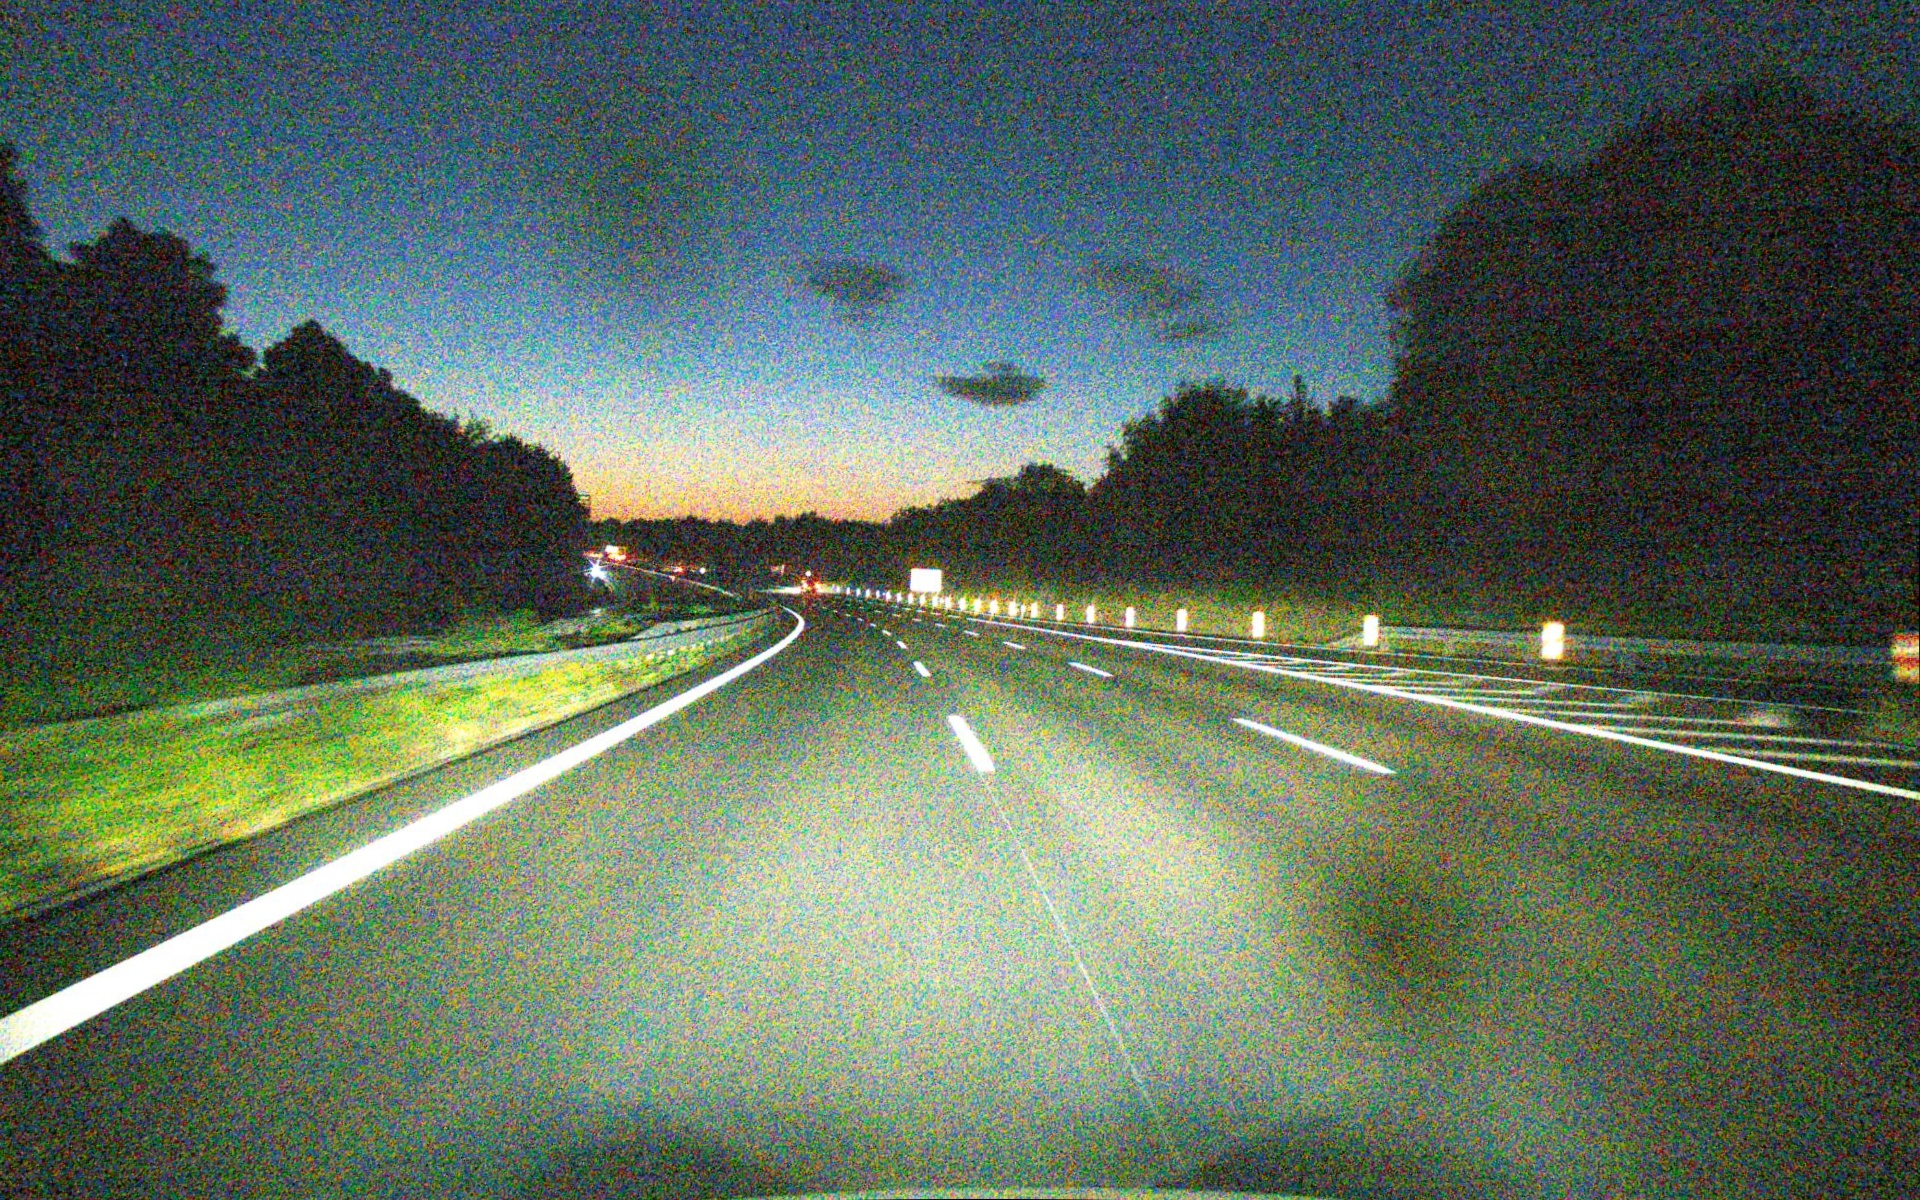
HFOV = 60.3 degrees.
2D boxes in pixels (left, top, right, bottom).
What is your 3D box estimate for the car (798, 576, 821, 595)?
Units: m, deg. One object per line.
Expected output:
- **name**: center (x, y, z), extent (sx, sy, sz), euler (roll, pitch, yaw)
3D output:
- **car**: center (-22.351, -2.168, 245.234), extent (2.485, 2.597, 6.030), euler (2, 1, -14)
